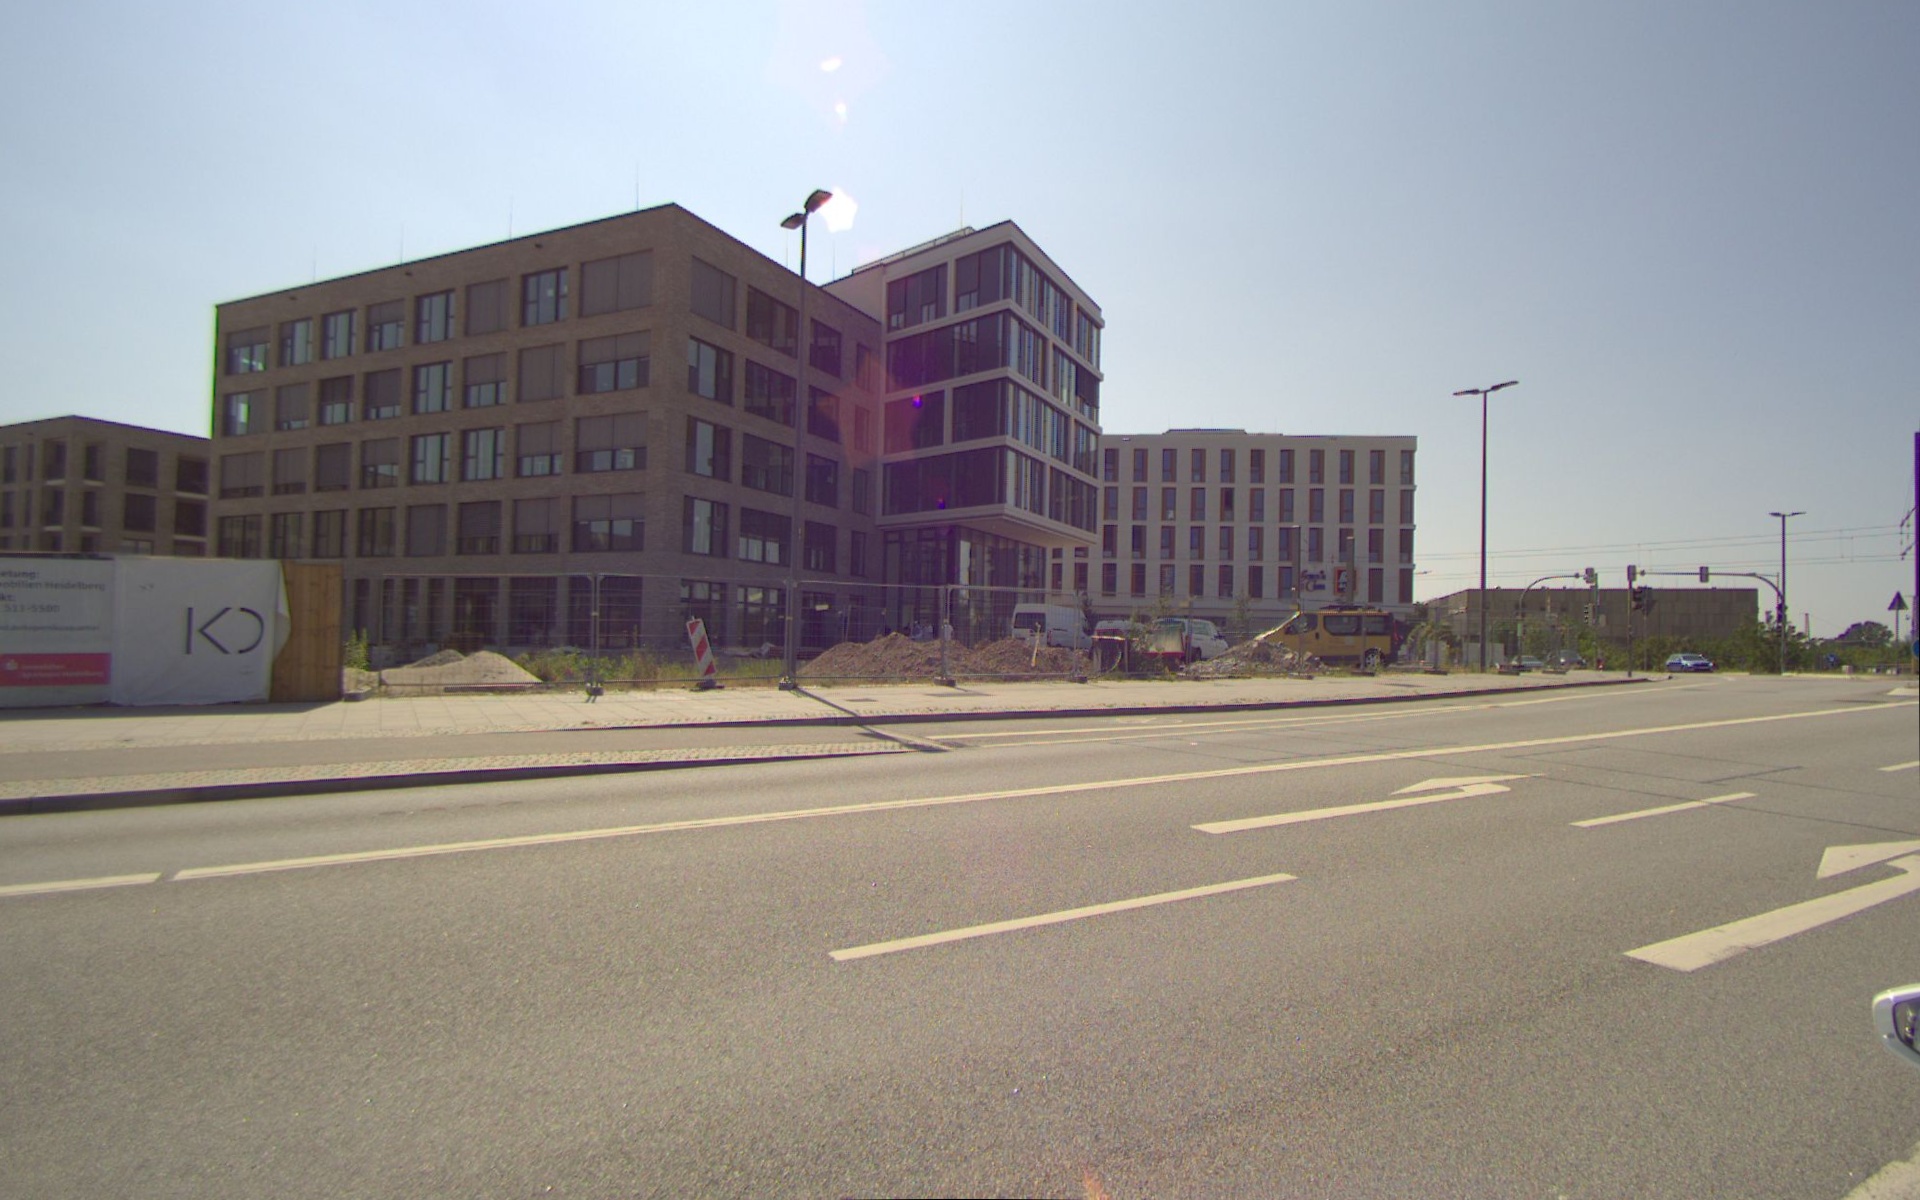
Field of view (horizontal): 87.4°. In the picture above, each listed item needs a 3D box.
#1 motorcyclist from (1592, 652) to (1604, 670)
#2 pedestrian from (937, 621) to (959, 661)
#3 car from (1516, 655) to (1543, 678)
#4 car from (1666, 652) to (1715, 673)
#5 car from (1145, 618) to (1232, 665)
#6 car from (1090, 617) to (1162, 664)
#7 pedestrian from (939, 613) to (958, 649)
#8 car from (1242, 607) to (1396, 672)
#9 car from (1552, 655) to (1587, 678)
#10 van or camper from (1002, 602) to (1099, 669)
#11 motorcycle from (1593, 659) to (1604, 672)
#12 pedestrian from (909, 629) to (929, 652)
[{"bbox_3d":[56.384,5.392,88.779,0.739,1.514,0.677,2,0,23],"label":"motorcyclist"},{"bbox_3d":[-0.508,1.791,44.004,0.734,1.741,0.699,2,0,16],"label":"pedestrian"},{"bbox_3d":[46.621,5.434,82.259,1.541,1.608,3.477,2,0,23],"label":"car"},{"bbox_3d":[52.290,4.470,71.936,1.787,1.348,4.000,2,-2,20],"label":"car"},{"bbox_3d":[9.646,1.687,42.155,1.841,1.797,4.637,2,0,36],"label":"car"},{"bbox_3d":[7.235,1.719,43.582,1.759,1.881,3.843,2,0,31],"label":"car"},{"bbox_3d":[-0.556,1.509,49.190,0.734,1.741,0.699,2,0,16],"label":"pedestrian"},{"bbox_3d":[11.978,1.292,33.787,4.533,1.988,1.991,2,0,9],"label":"car"},{"bbox_3d":[44.387,4.842,73.202,1.646,1.496,3.405,0,-1,22],"label":"car"},{"bbox_3d":[4.122,1.549,45.076,2.273,2.772,4.975,2,0,32],"label":"van or camper"},{"bbox_3d":[56.335,5.776,88.607,0.511,0.967,1.933,2,0,23],"label":"motorcycle"},{"bbox_3d":[-1.945,1.887,47.372,0.734,1.041,0.699,2,0,16],"label":"pedestrian"}]
